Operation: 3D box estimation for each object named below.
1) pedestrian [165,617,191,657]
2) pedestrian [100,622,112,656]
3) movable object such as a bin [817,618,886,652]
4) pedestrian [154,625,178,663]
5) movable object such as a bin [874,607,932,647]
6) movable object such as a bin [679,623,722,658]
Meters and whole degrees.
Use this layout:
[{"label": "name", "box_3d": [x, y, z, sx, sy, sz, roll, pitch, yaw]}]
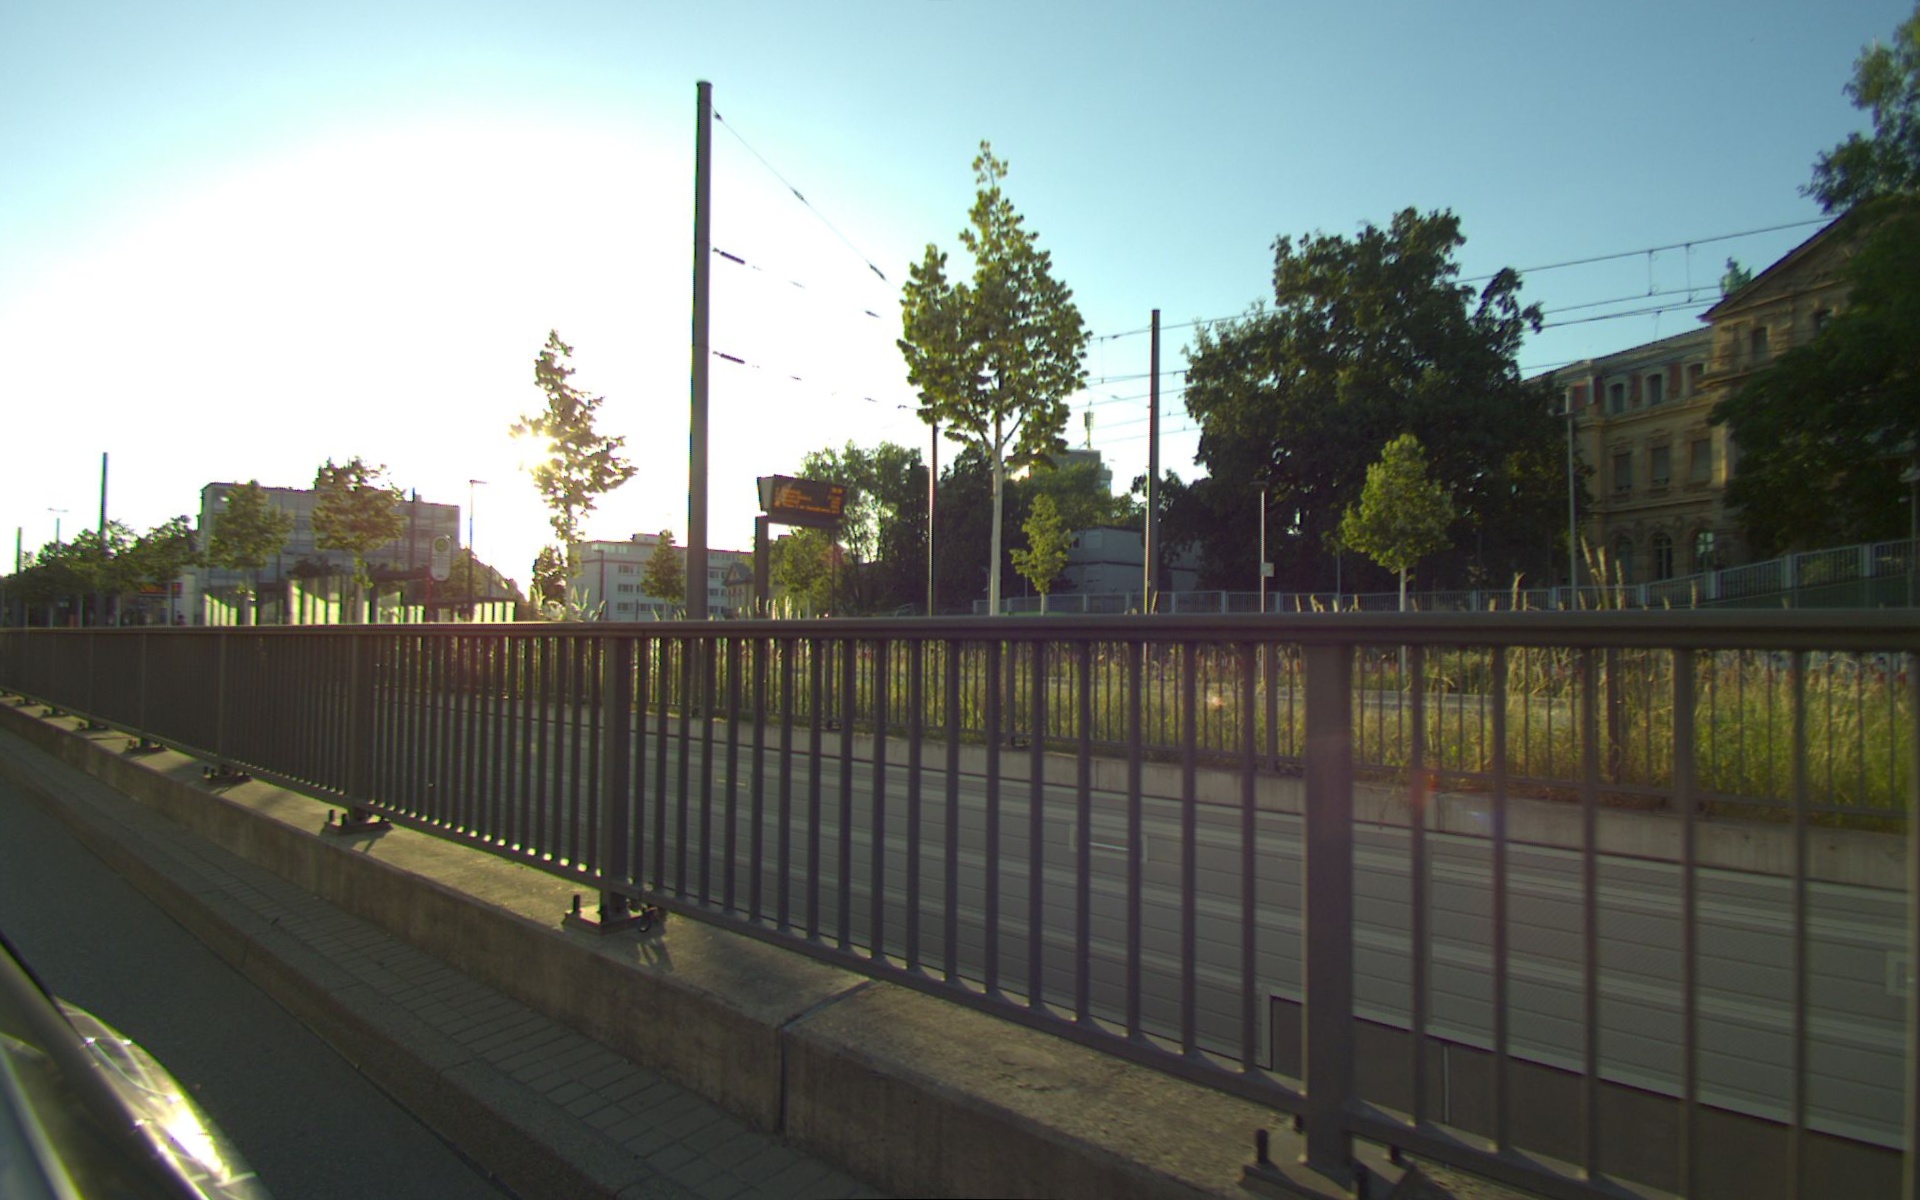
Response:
[{"label": "pedestrian", "box_3d": [-34.294, 1.623, 44.387, 0.633, 1.742, 0.630, -1, -3, 29]}, {"label": "pedestrian", "box_3d": [-46.011, 2.083, 54.512, 0.465, 1.800, 0.627, 2, -3, -41]}, {"label": "movable object such as a bin", "box_3d": [-7.517, 2.424, 69.730, 4.940, 2.263, 1.971, -2, -3, 44]}, {"label": "pedestrian", "box_3d": [-37.687, 2.088, 48.033, 0.634, 1.758, 0.719, -3, -3, 33]}, {"label": "movable object such as a bin", "box_3d": [-4.092, 1.954, 72.404, 4.000, 2.727, 1.971, -2, -3, 43]}, {"label": "movable object such as a bin", "box_3d": [-20.858, 3.243, 81.220, 1.967, 2.727, 4.009, 1, -2, -36]}]
